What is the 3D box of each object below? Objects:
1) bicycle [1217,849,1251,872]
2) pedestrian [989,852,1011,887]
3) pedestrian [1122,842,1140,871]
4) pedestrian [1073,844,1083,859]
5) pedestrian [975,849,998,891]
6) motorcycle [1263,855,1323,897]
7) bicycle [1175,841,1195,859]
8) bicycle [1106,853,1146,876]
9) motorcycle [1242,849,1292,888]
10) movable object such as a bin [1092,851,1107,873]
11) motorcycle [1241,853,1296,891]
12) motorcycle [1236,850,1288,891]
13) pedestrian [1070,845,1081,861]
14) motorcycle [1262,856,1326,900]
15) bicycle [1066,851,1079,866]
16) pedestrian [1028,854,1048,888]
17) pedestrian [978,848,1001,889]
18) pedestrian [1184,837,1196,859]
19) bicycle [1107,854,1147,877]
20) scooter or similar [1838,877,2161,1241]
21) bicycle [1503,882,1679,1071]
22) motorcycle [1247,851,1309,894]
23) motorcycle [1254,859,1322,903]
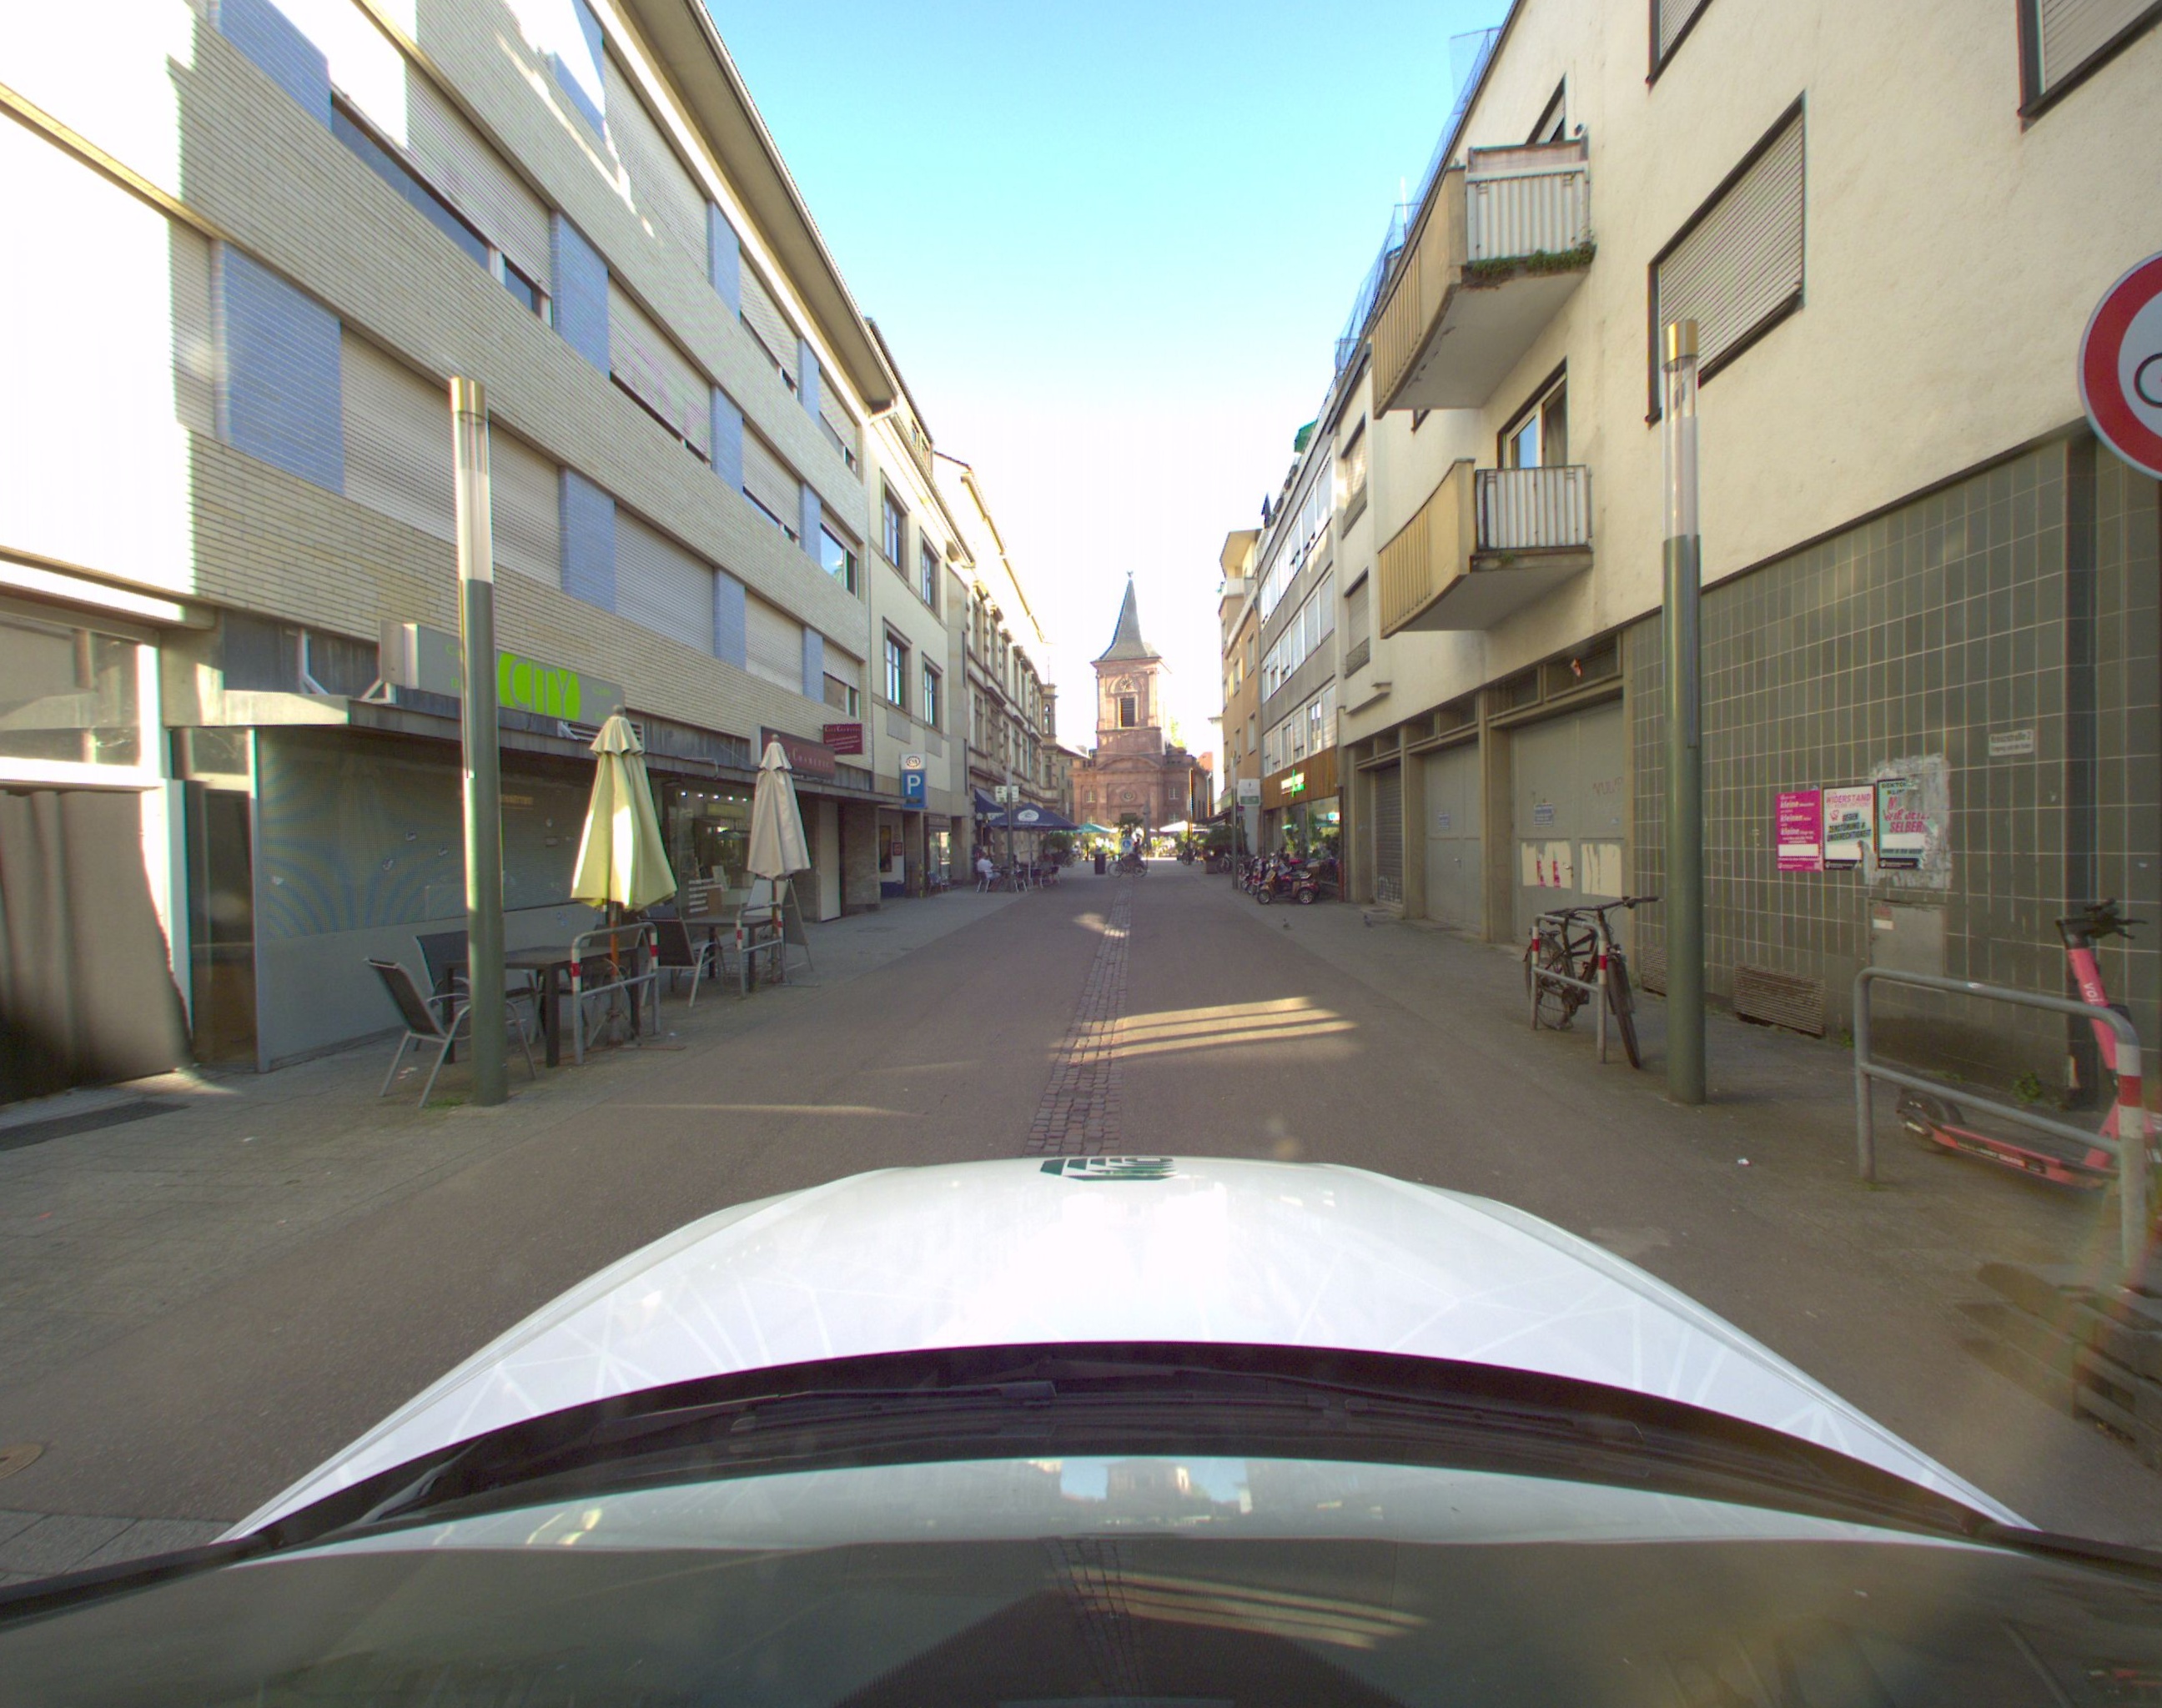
[{"bbox_3d":[6.806,0.292,36.321,1.454,1.004,0.575,-1,1,10],"label":"bicycle"},{"bbox_3d":[-2.950,0.566,29.757,0.763,1.233,0.830,-1,1,-5],"label":"pedestrian"},{"bbox_3d":[2.558,0.127,41.613,0.880,1.464,0.732,-1,1,4],"label":"pedestrian"},{"bbox_3d":[-0.224,-0.195,65.192,0.696,1.218,0.721,-1,1,9],"label":"pedestrian"},{"bbox_3d":[-3.134,0.516,27.027,0.707,1.368,0.718,-1,1,-9],"label":"pedestrian"},{"bbox_3d":[5.617,0.587,21.634,1.471,1.075,0.414,-2,0,21],"label":"motorcycle"},{"bbox_3d":[7.985,-0.306,62.624,1.594,1.308,0.362,-2,1,-26],"label":"bicycle"},{"bbox_3d":[2.075,0.483,37.509,1.818,1.004,0.381,-1,1,0],"label":"bicycle"},{"bbox_3d":[5.822,0.446,25.532,1.471,1.181,0.414,-2,0,18],"label":"motorcycle"},{"bbox_3d":[0.931,0.411,40.447,0.718,1.074,0.374,-1,1,2],"label":"movable object such as a bin"},{"bbox_3d":[5.444,0.529,23.644,1.471,1.075,0.414,-2,0,21],"label":"motorcycle"},{"bbox_3d":[5.455,0.494,24.513,1.471,1.181,0.414,-2,0,18],"label":"motorcycle"},{"bbox_3d":[-0.421,-0.110,63.769,0.696,1.218,0.721,-1,1,9],"label":"pedestrian"},{"bbox_3d":[5.408,0.610,20.649,1.503,1.075,0.414,-2,0,21],"label":"motorcycle"},{"bbox_3d":[-0.507,0.247,49.619,0.454,0.850,2.151,-1,1,7],"label":"bicycle"},{"bbox_3d":[-1.614,0.634,30.506,0.691,1.215,0.582,-1,1,-5],"label":"pedestrian"},{"bbox_3d":[-3.152,0.493,27.965,0.717,1.368,0.708,-1,1,-9],"label":"pedestrian"},{"bbox_3d":[7.772,-0.431,57.938,0.779,1.555,0.536,-1,1,8],"label":"pedestrian"},{"bbox_3d":[2.087,0.509,37.104,1.818,1.004,0.381,-1,1,0],"label":"bicycle"},{"bbox_3d":[4.005,0.750,3.515,0.306,1.252,1.239,-1,0,0],"label":"scooter or similar"},{"bbox_3d":[3.671,0.807,6.015,0.444,1.140,1.714,-1,-1,9],"label":"bicycle"},{"bbox_3d":[5.542,0.521,22.873,1.610,1.175,0.483,-2,0,21],"label":"motorcycle"},{"bbox_3d":[5.052,0.673,19.919,1.550,1.041,0.374,-2,0,21],"label":"motorcycle"}]
